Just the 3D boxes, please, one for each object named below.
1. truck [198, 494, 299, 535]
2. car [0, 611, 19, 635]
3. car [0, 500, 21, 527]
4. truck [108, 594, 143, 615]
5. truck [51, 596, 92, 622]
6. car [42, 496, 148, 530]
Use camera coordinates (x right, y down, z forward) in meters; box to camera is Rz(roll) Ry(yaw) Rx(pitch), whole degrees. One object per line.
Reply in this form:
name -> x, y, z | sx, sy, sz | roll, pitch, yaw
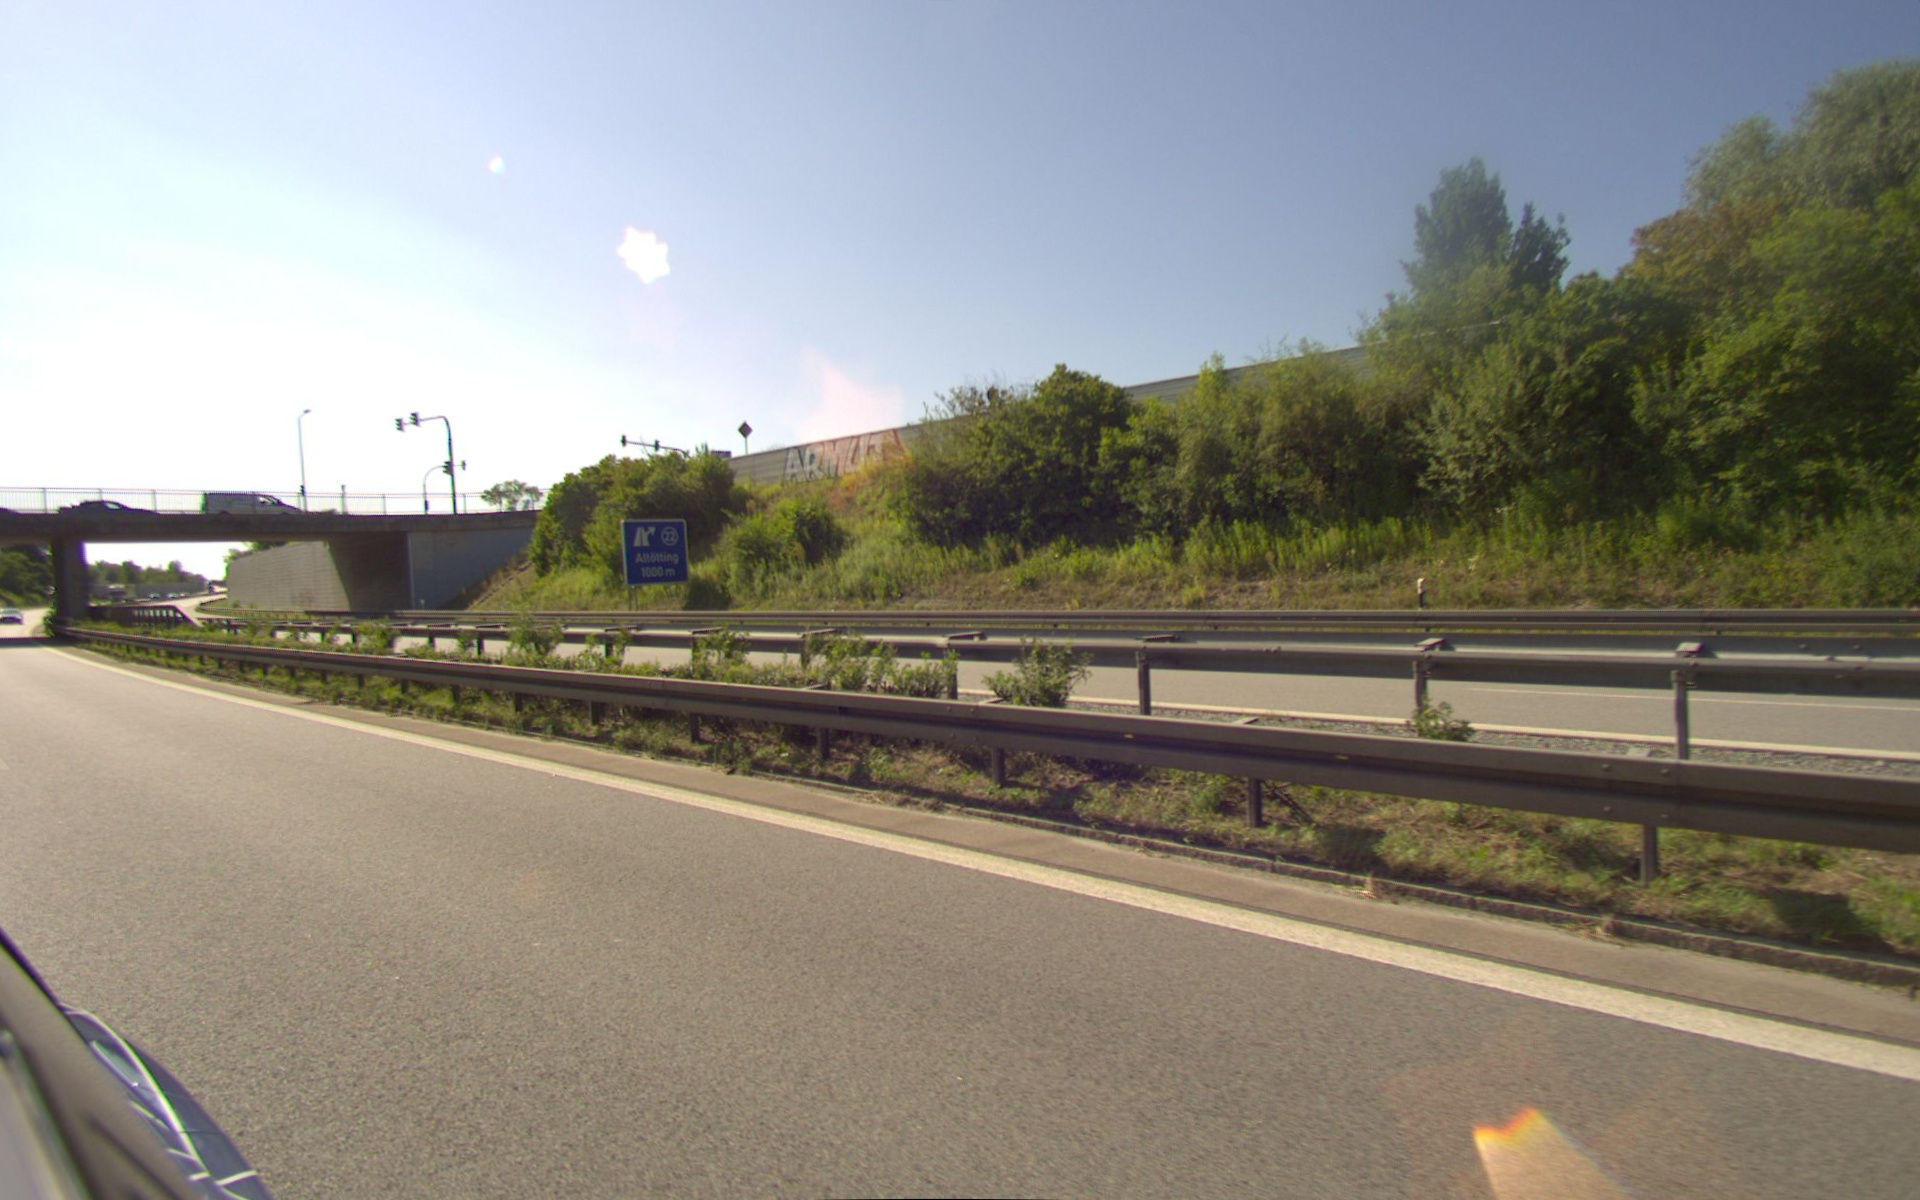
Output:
truck -> -43.374, -5.175, 61.727 | 4.799, 2.183, 2.002 | -1, 1, -44
car -> -85.118, 2.038, 90.013 | 1.969, 2.029, 4.604 | 1, -2, -42
car -> -52.077, -4.629, 53.289 | 1.825, 1.315, 3.790 | 1, 1, 45
truck -> -169.918, 0.854, 206.188 | 3.378, 4.243, 12.124 | -1, 1, -29
truck -> -150.978, 1.461, 172.038 | 3.379, 4.243, 12.119 | -1, 1, -33
car -> -48.516, -4.841, 56.833 | 1.908, 1.567, 4.378 | 1, 1, 45
